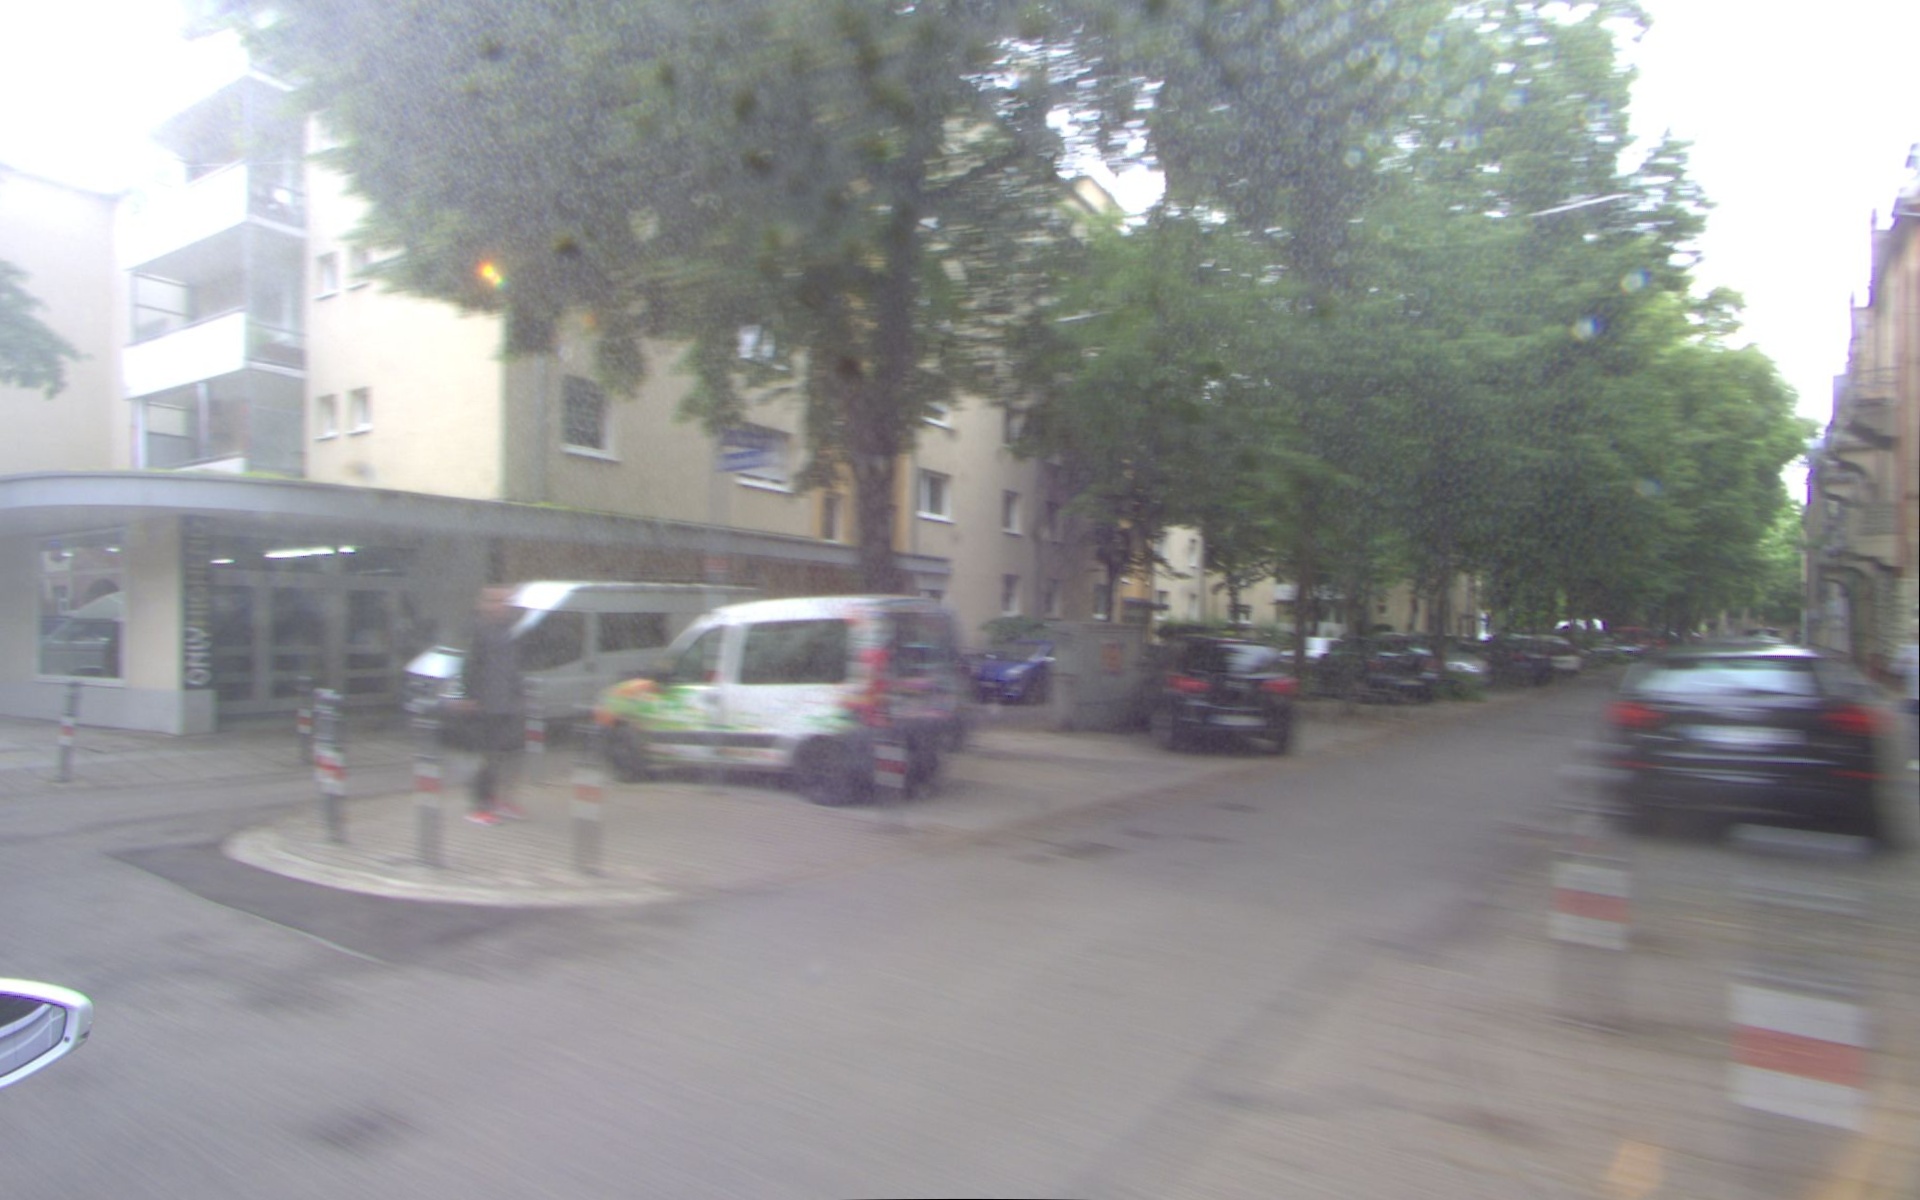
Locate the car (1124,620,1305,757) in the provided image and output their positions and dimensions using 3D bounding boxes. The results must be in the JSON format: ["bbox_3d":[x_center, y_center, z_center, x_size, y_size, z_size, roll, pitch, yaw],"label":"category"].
[{"bbox_3d":[3.390,1.112,14.041,1.652,1.601,3.953,1,-1,3],"label":"car"}]

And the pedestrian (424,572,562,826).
[{"bbox_3d":[-3.549,0.727,7.646,0.502,1.820,0.778,0,-1,32],"label":"pedestrian"}]

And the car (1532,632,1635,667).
[{"bbox_3d":[28.914,2.268,46.573,1.707,1.550,3.995,1,-1,-14],"label":"car"}]

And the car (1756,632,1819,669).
[{"bbox_3d":[35.927,2.149,43.438,1.977,1.515,4.298,-1,-2,41],"label":"car"}]

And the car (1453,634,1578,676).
[{"bbox_3d":[20.033,1.946,36.299,1.707,1.408,3.995,1,-1,-14],"label":"car"}]

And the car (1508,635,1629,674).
[{"bbox_3d":[23.705,2.079,39.173,1.707,1.408,3.995,1,-1,-14],"label":"car"}]

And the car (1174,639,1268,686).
[{"bbox_3d":[8.331,1.987,31.862,1.493,1.385,3.494,-2,-4,41],"label":"car"}]

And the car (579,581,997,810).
[{"bbox_3d":[-1.767,0.810,9.888,3.944,1.842,1.767,-1,-1,33],"label":"car"}]

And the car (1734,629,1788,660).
[{"bbox_3d":[41.090,2.249,51.310,1.977,1.515,4.298,-1,-2,41],"label":"car"}]

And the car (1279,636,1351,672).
[{"bbox_3d":[14.142,2.166,39.794,1.493,1.385,3.494,-2,-4,41],"label":"car"}]

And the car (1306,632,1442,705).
[{"bbox_3d":[9.346,1.493,22.932,1.632,1.483,4.001,0,-1,3],"label":"car"}]

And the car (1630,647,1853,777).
[{"bbox_3d":[10.298,1.335,13.106,1.978,1.371,4.298,-4,-4,41],"label":"car"}]

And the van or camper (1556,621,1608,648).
[{"bbox_3d":[72.283,3.958,116.484,4.964,3.074,1.993,-1,-1,28],"label":"van or camper"}]

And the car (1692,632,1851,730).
[{"bbox_3d":[14.729,1.395,18.123,1.978,1.552,4.298,-4,-4,41],"label":"car"}]

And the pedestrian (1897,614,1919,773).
[{"bbox_3d":[10.803,1.009,11.045,0.557,1.727,0.743,-5,-4,42],"label":"pedestrian"}]

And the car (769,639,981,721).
[{"bbox_3d":[-1.628,1.533,20.370,1.886,1.447,4.147,-1,-2,42],"label":"car"}]

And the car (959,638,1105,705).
[{"bbox_3d":[1.802,1.659,24.236,1.614,1.447,3.677,-1,-2,42],"label":"car"}]

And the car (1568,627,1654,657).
[{"bbox_3d":[36.797,2.374,56.686,1.707,1.632,3.995,1,-1,-14],"label":"car"}]

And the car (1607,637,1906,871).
[{"bbox_3d":[6.803,1.123,8.746,1.640,1.559,3.810,-3,-3,37],"label":"car"}]

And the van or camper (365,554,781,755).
[{"bbox_3d":[-5.705,0.729,15.627,2.108,2.528,5.752,3,1,37],"label":"van or camper"}]

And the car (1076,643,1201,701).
[{"bbox_3d":[5.075,1.966,28.169,1.755,1.436,3.970,-1,-2,40],"label":"car"}]

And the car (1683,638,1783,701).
[{"bbox_3d":[20.579,1.805,26.597,1.825,1.514,4.240,-4,-4,41],"label":"car"}]

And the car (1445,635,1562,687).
[{"bbox_3d":[16.782,1.846,31.134,1.632,1.483,4.001,0,-1,3],"label":"car"}]

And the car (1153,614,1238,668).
[{"bbox_3d":[9.466,1.598,40.053,1.973,2.039,3.977,0,-1,35],"label":"car"}]
